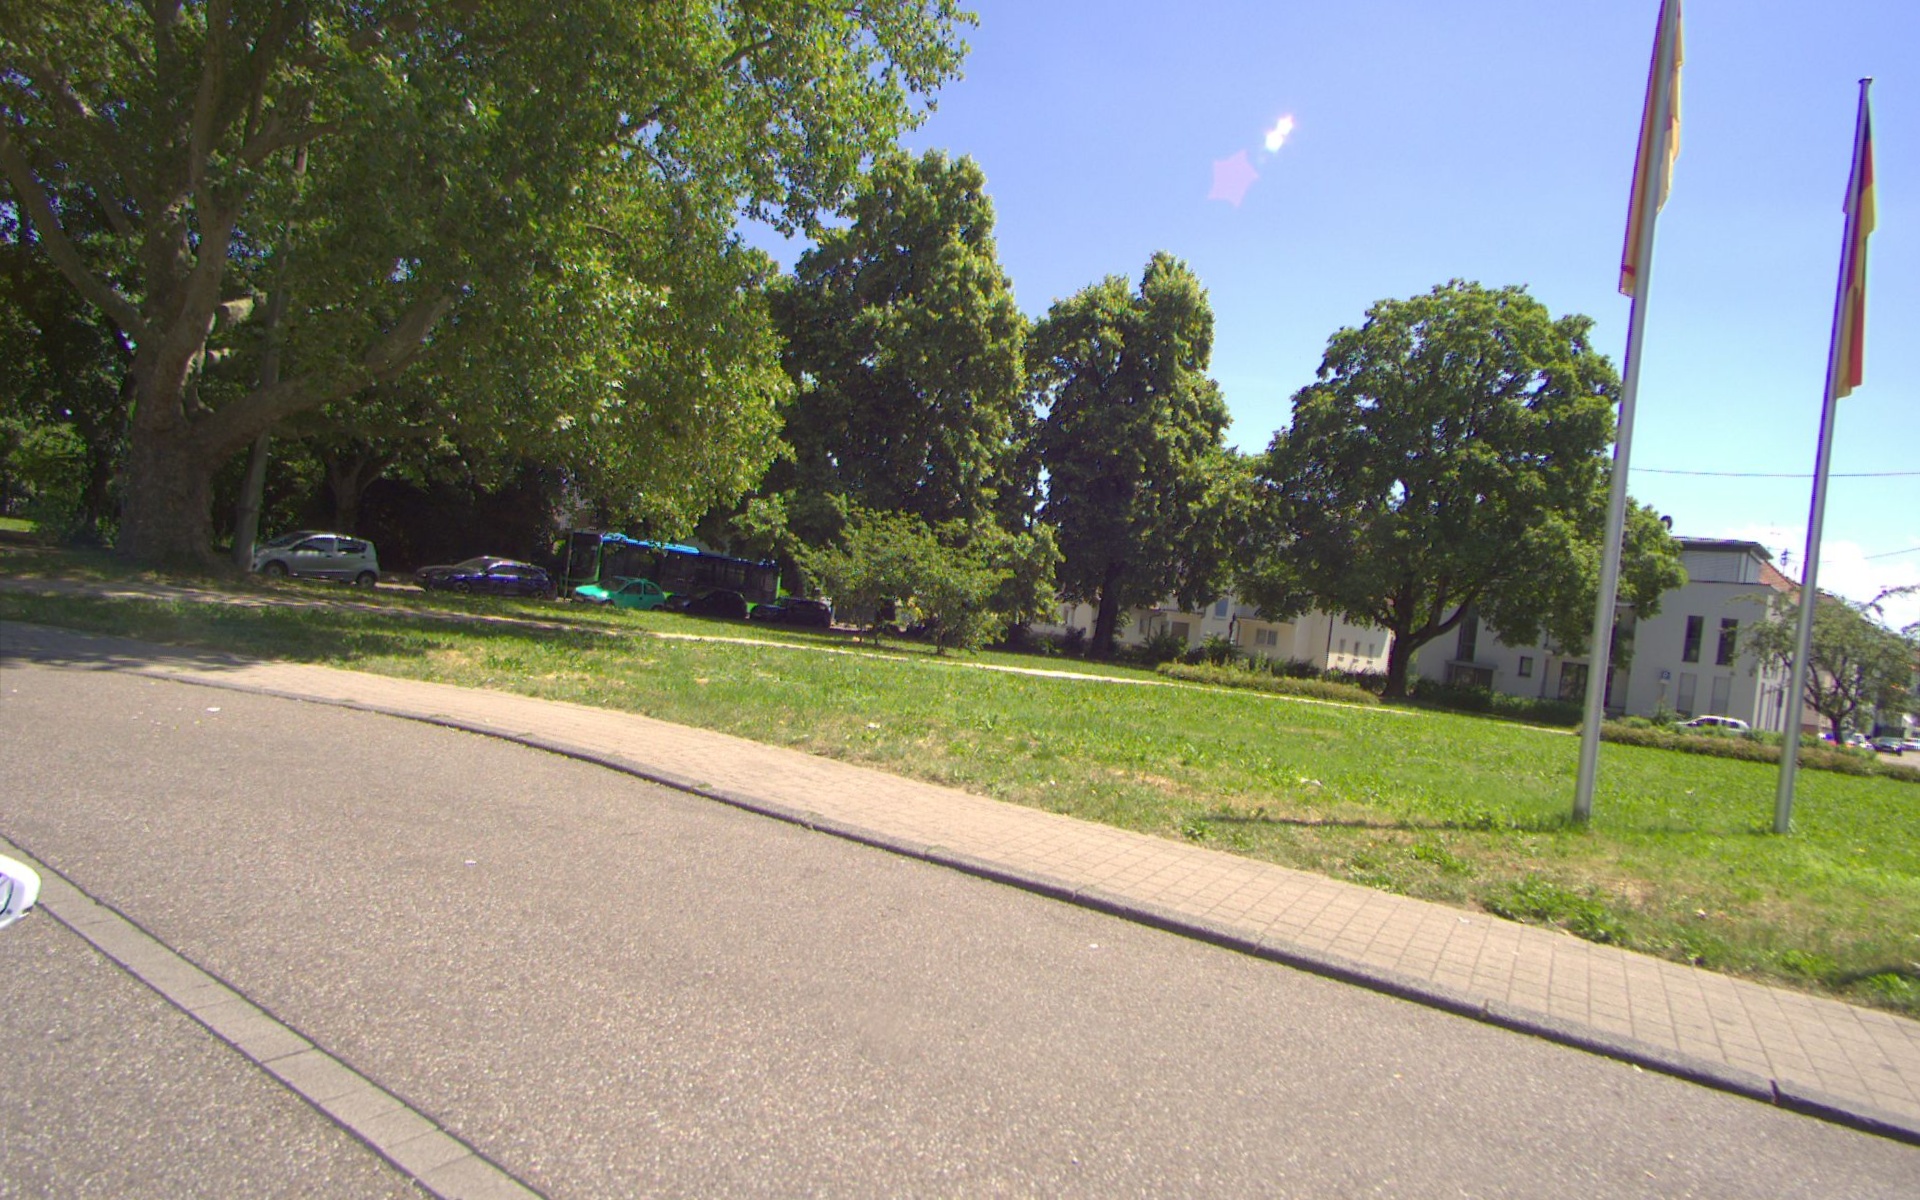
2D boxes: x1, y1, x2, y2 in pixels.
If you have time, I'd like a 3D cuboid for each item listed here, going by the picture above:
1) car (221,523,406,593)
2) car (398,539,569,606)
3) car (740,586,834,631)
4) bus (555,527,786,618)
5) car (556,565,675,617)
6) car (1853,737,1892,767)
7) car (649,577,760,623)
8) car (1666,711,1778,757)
[{"bbox_3d":[-19.133,-1.222,29.946,1.968,1.484,4.108,7,-1,34],"label":"car"},{"bbox_3d":[-16.044,-0.898,34.115,1.968,1.627,4.827,7,-1,34],"label":"car"},{"bbox_3d":[-8.103,0.443,47.503,1.968,1.627,4.102,6,-2,33],"label":"car"},{"bbox_3d":[-13.586,-1.135,49.105,2.231,3.013,12.396,6,-1,32],"label":"bus"},{"bbox_3d":[-13.254,-0.321,38.919,1.968,1.471,3.887,6,-2,32],"label":"car"},{"bbox_3d":[72.849,12.132,80.272,3.975,2.038,1.976,7,-2,-44],"label":"car"},{"bbox_3d":[-10.856,0.024,42.957,1.967,1.432,4.344,6,-2,32],"label":"car"},{"bbox_3d":[34.308,6.016,45.383,3.638,1.450,1.465,7,0,22],"label":"car"}]
